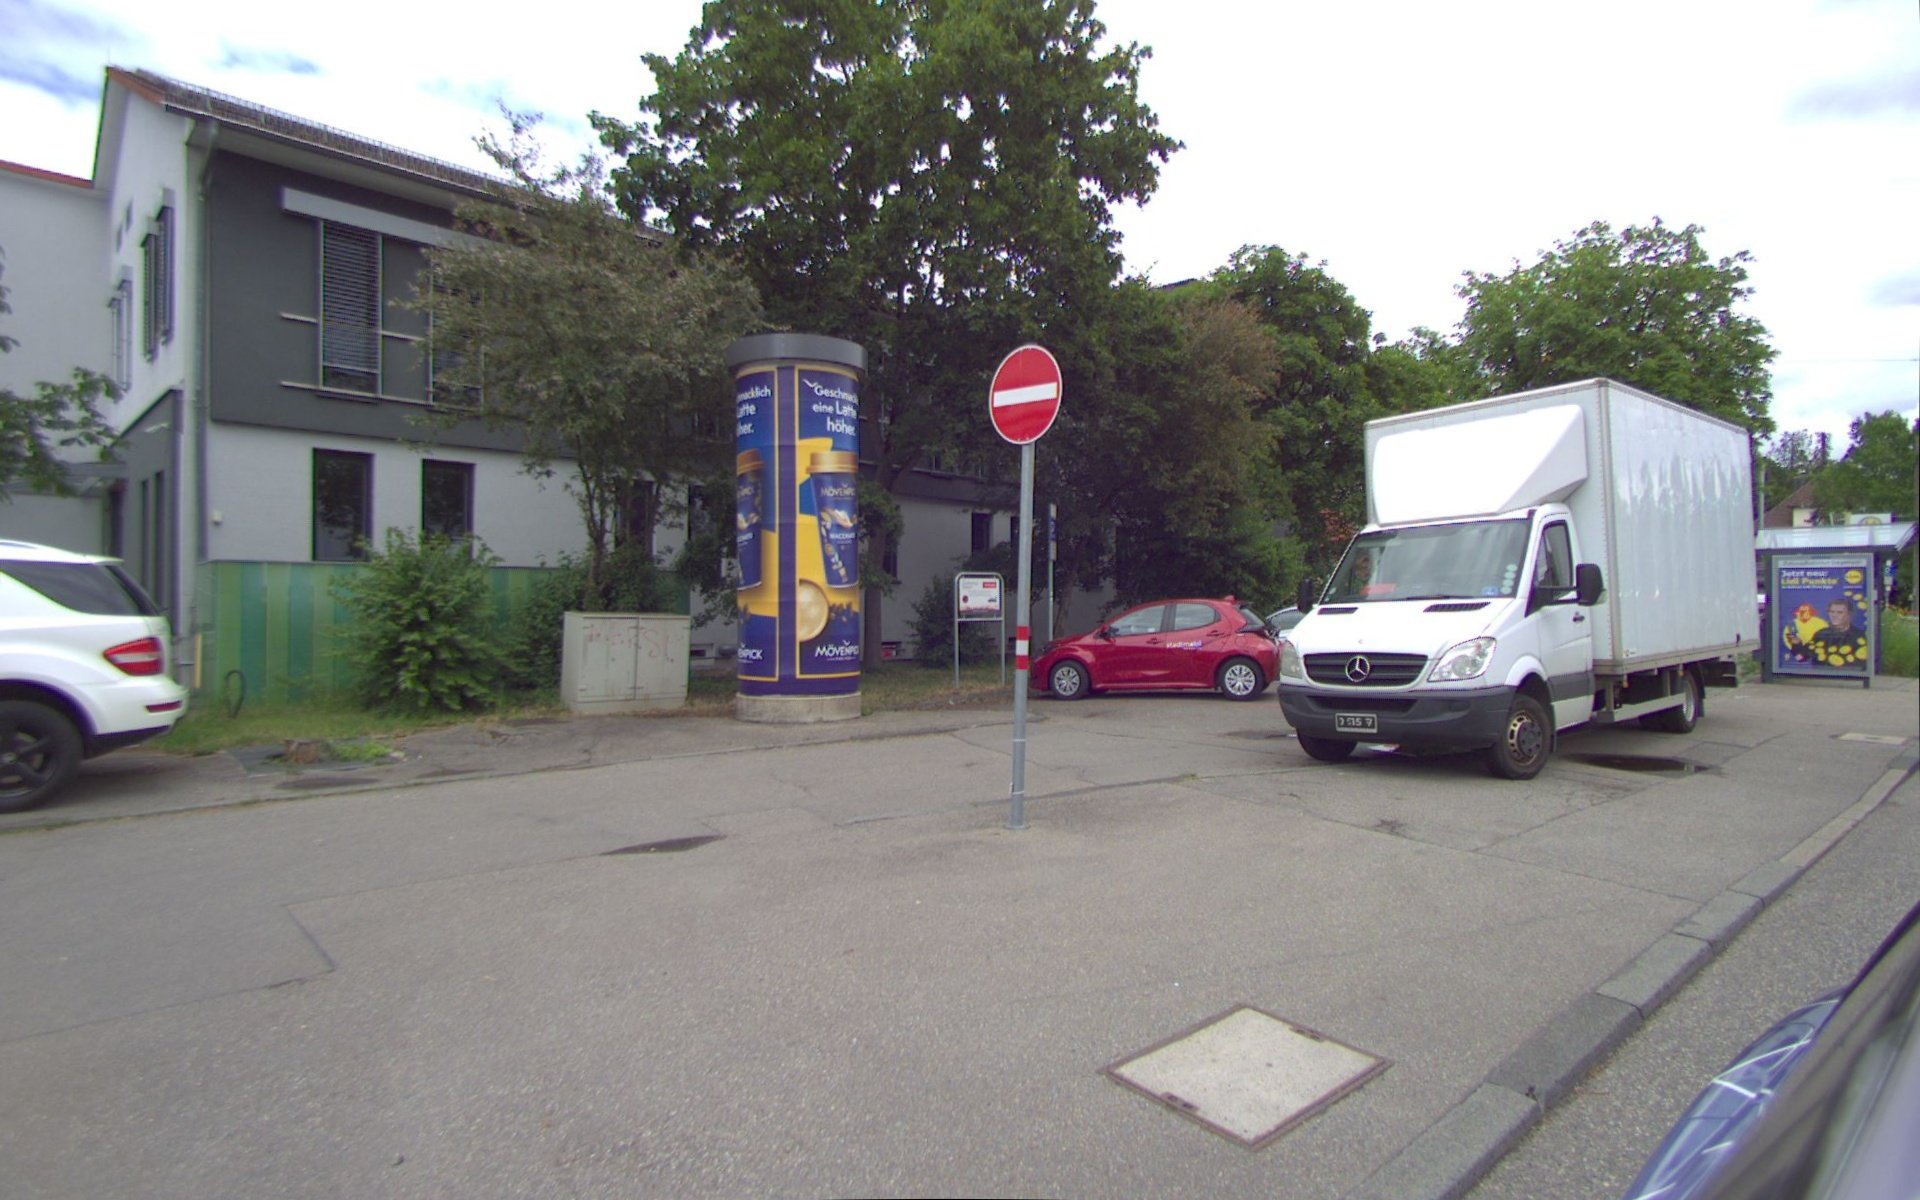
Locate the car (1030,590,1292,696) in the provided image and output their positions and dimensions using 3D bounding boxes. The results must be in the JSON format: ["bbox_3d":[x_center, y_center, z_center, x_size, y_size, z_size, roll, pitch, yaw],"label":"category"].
[{"bbox_3d":[3.062,0.631,15.433,3.686,1.464,1.595,-1,-2,23],"label":"car"}]

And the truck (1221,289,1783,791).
[{"bbox_3d":[6.118,-0.442,10.659,7.671,3.570,2.578,0,0,-40],"label":"truck"}]

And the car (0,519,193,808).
[{"bbox_3d":[-7.737,0.401,6.432,4.440,1.860,1.997,-1,2,-42],"label":"car"}]

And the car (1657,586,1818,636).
[{"bbox_3d":[28.562,0.401,37.246,4.602,1.771,1.852,0,0,-3],"label":"car"}]

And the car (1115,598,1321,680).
[{"bbox_3d":[5.071,0.715,19.873,3.754,1.492,1.787,0,0,19],"label":"car"}]
